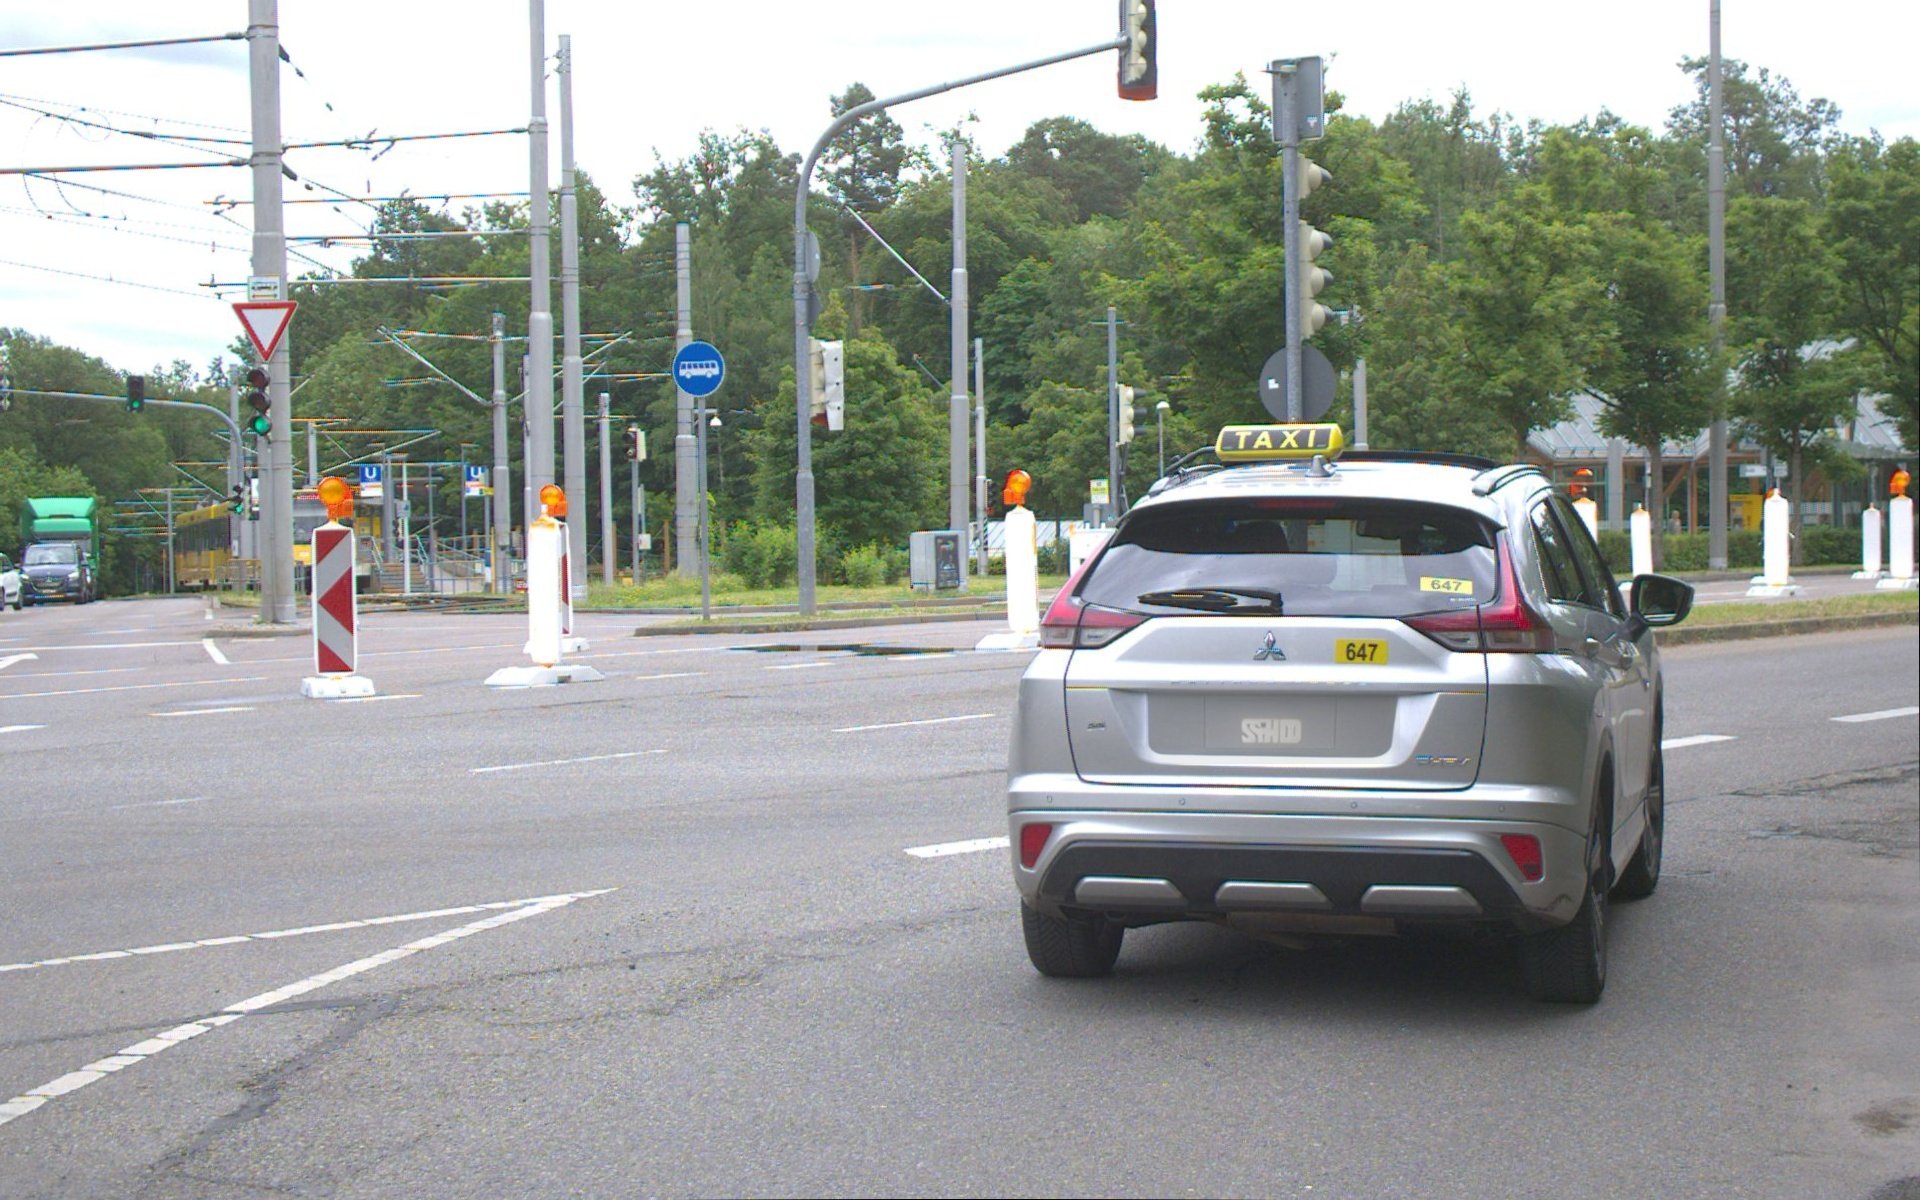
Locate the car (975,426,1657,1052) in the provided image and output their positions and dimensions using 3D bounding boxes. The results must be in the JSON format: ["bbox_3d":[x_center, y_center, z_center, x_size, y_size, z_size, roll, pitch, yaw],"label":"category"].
[{"bbox_3d":[1.361,0.354,11.604,1.775,1.742,3.778,0,1,14],"label":"car"}]

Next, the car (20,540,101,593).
[{"bbox_3d":[-27.379,-1.037,104.787,1.961,1.535,4.311,-2,1,-10],"label":"car"}]

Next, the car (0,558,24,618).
[{"bbox_3d":[-25.887,-0.306,90.458,1.961,1.536,4.397,-2,1,-10],"label":"car"}]
